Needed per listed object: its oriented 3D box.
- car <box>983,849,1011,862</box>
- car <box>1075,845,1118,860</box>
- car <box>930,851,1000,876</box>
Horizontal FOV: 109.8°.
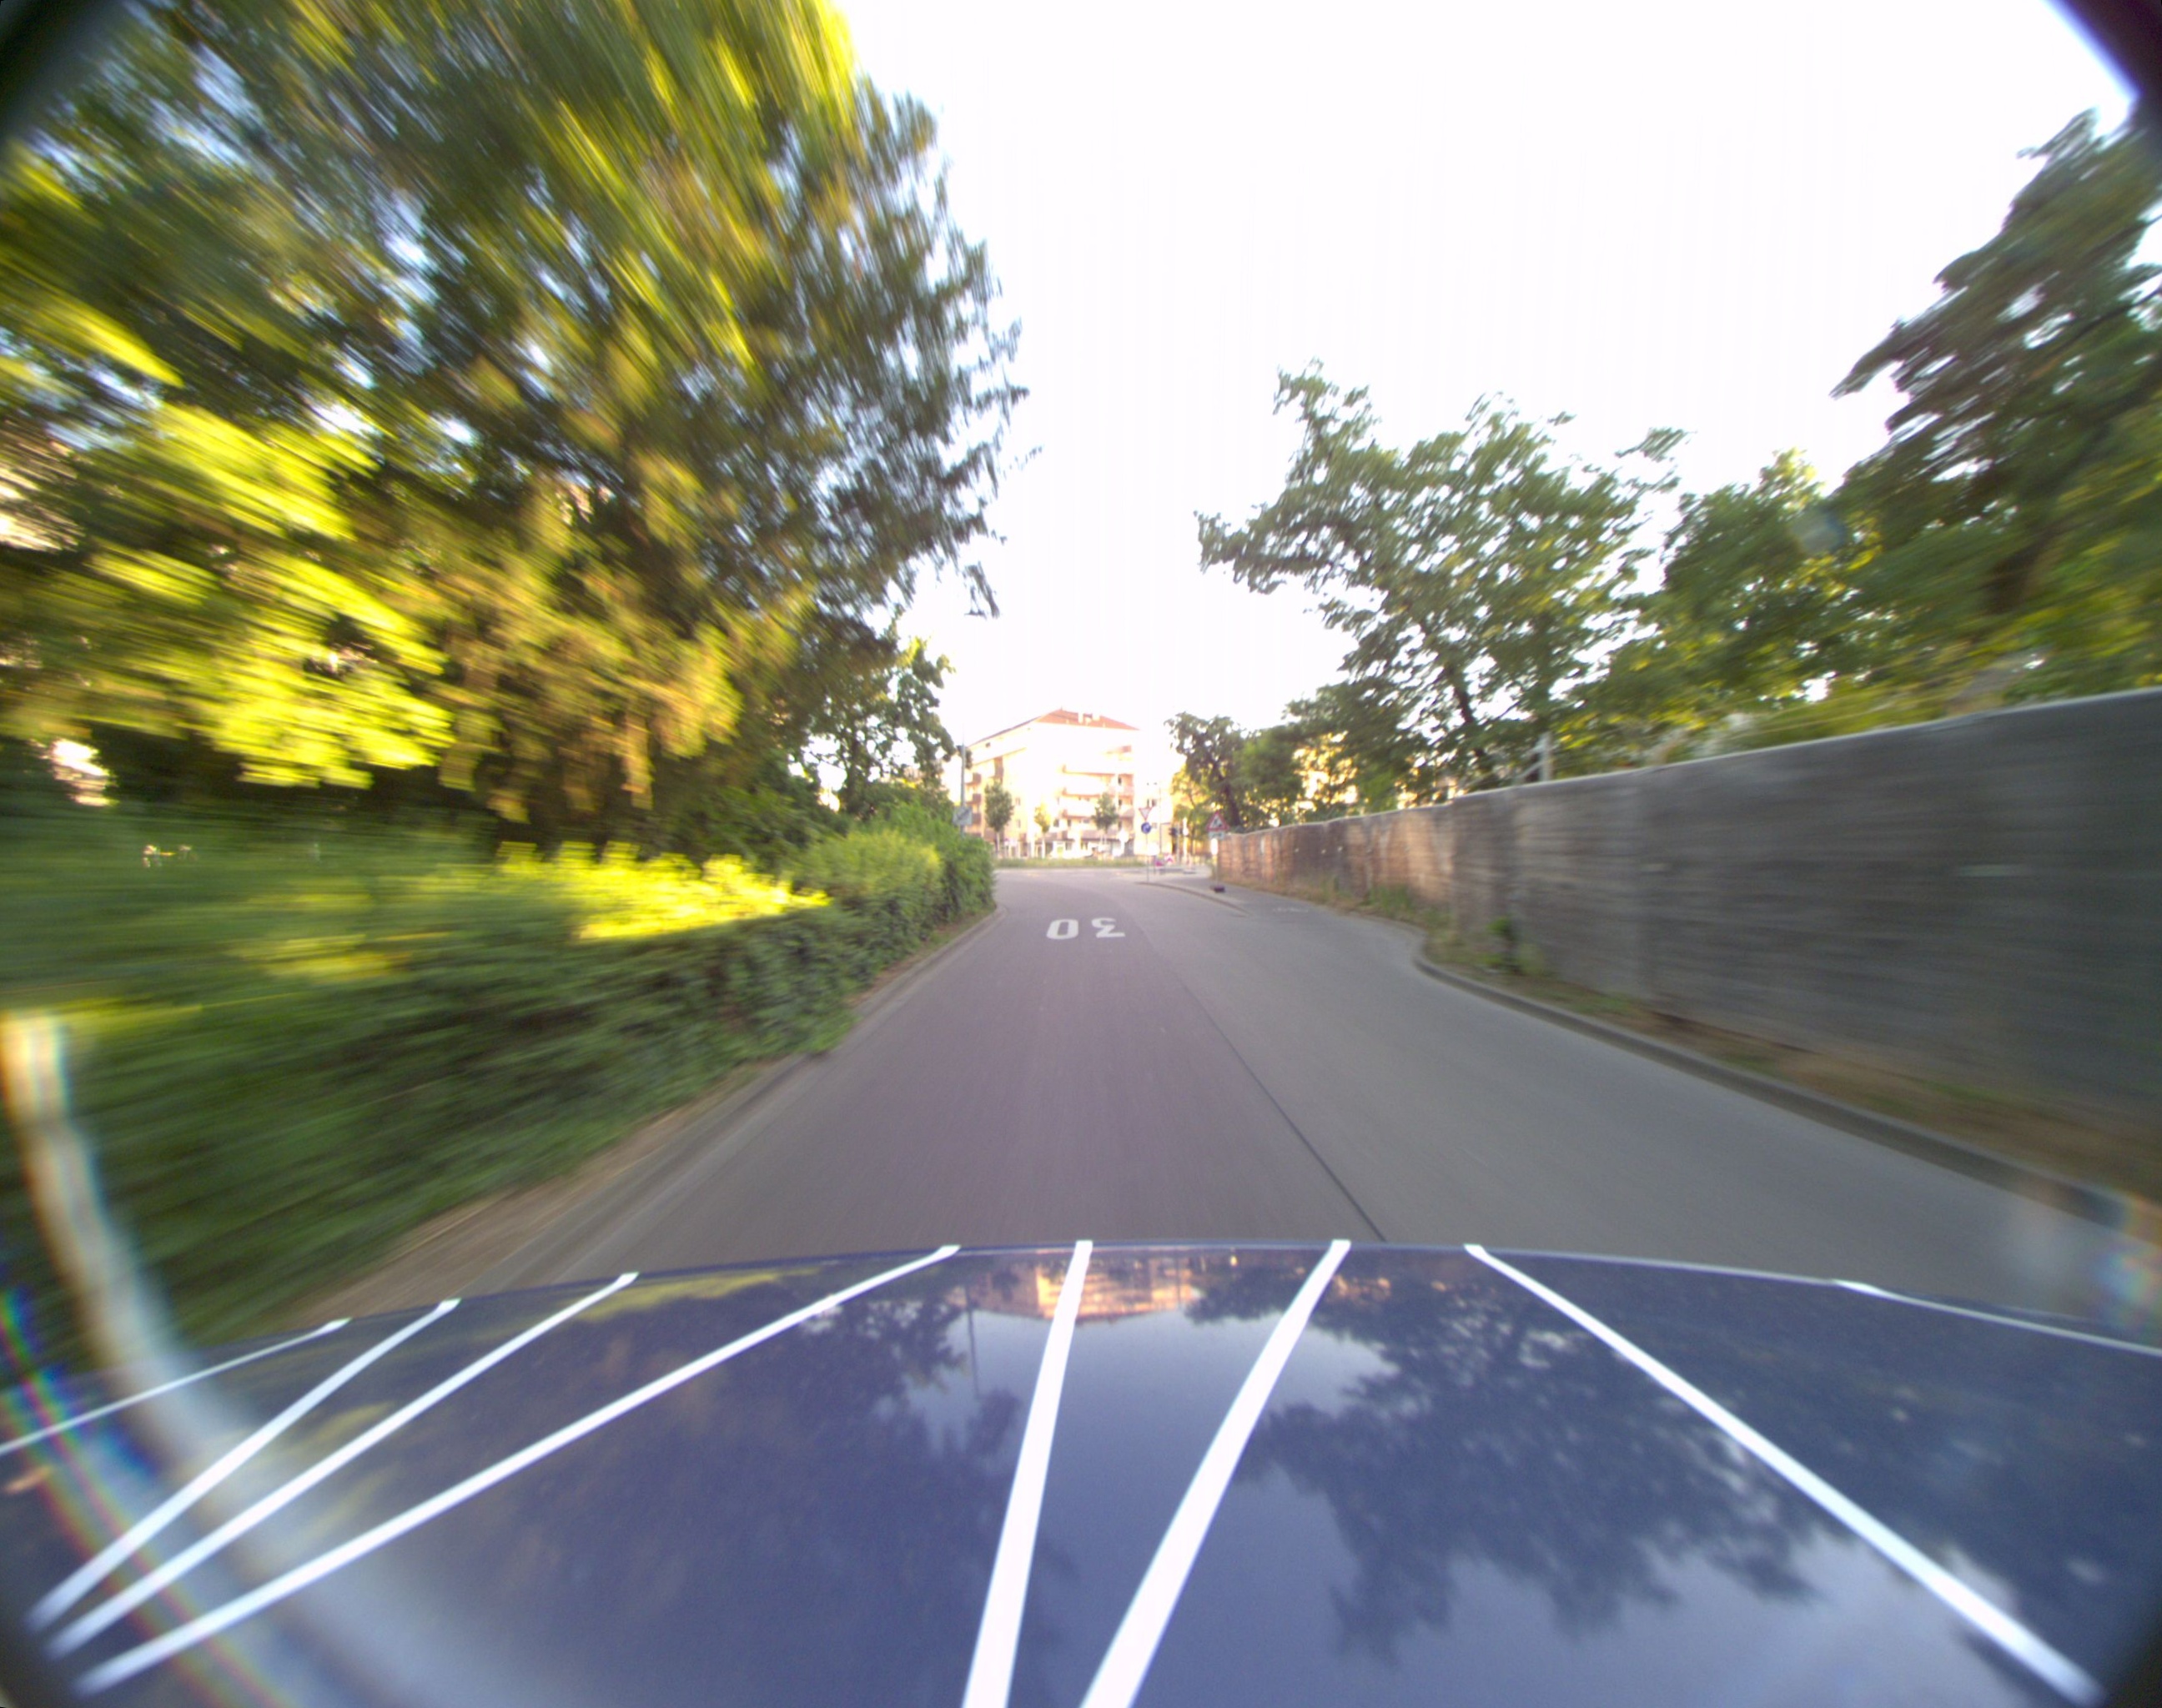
[{"bbox_3d":[-10.339,0.190,93.443,2.003,1.477,3.990,-1,1,-28],"label":"car"},{"bbox_3d":[1.656,-0.185,79.518,4.006,1.496,1.995,-1,2,-29],"label":"car"},{"bbox_3d":[-6.956,0.536,45.536,3.912,1.380,1.797,-1,1,-20],"label":"car"}]
